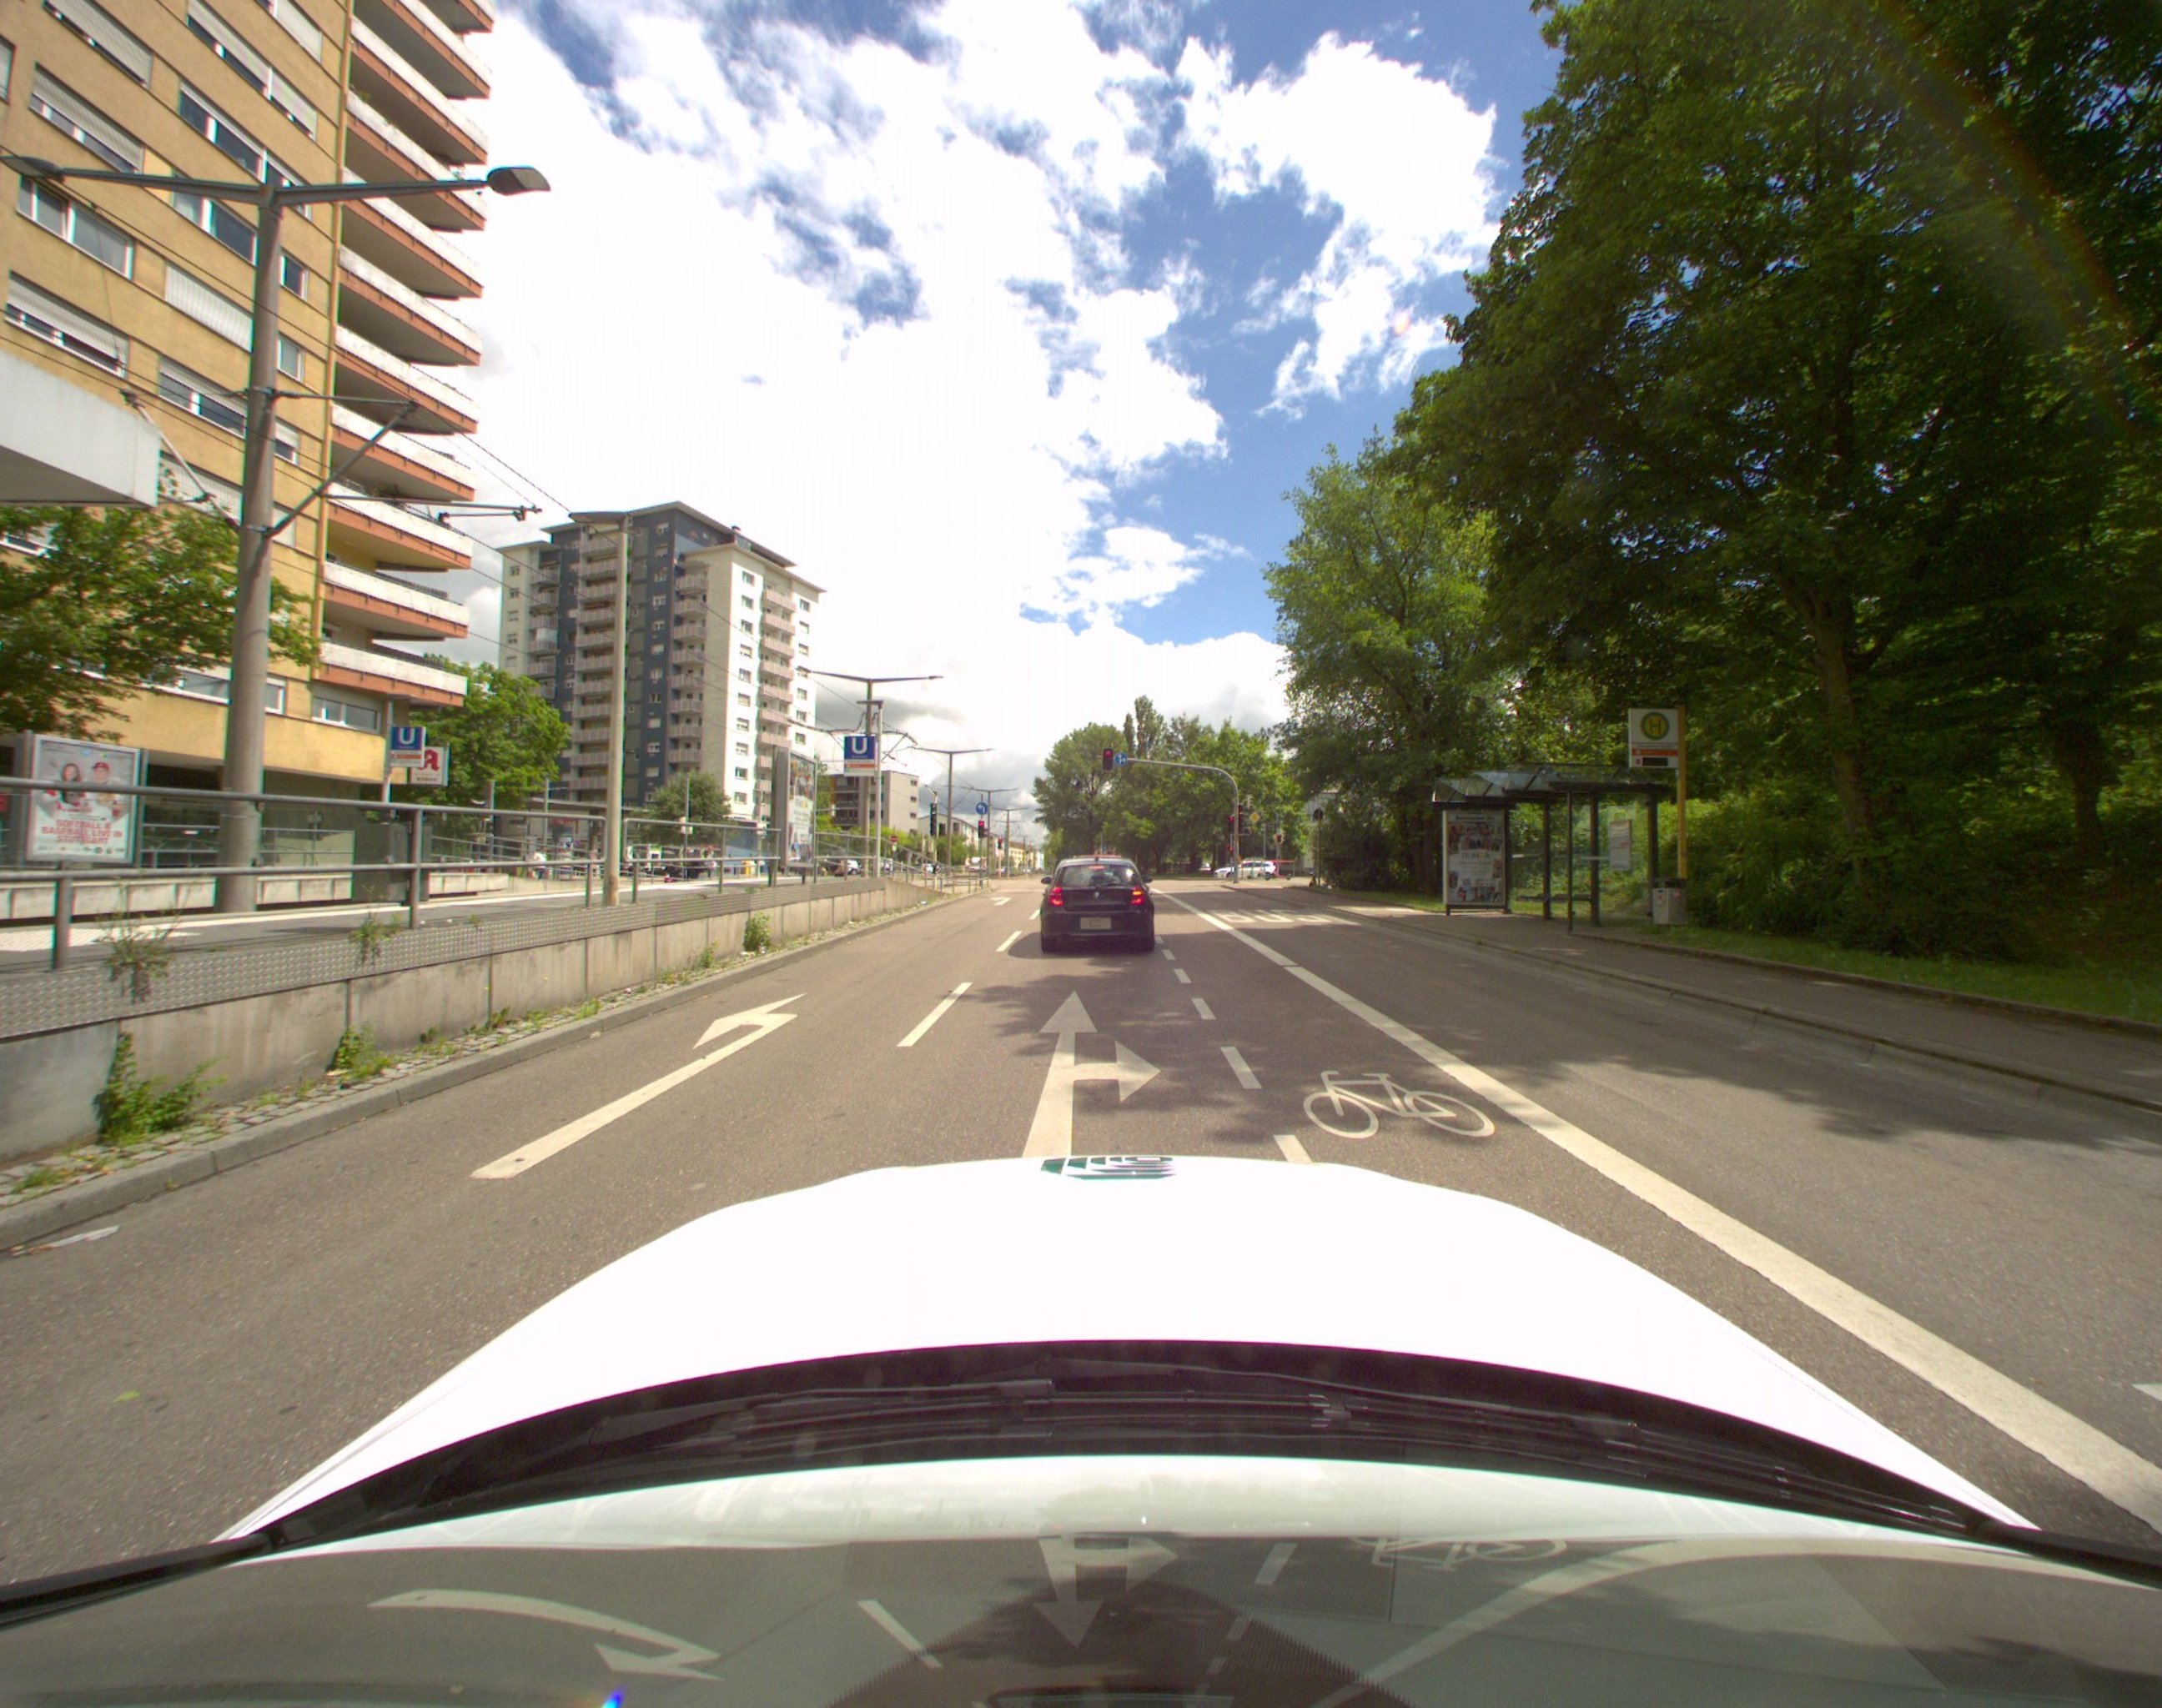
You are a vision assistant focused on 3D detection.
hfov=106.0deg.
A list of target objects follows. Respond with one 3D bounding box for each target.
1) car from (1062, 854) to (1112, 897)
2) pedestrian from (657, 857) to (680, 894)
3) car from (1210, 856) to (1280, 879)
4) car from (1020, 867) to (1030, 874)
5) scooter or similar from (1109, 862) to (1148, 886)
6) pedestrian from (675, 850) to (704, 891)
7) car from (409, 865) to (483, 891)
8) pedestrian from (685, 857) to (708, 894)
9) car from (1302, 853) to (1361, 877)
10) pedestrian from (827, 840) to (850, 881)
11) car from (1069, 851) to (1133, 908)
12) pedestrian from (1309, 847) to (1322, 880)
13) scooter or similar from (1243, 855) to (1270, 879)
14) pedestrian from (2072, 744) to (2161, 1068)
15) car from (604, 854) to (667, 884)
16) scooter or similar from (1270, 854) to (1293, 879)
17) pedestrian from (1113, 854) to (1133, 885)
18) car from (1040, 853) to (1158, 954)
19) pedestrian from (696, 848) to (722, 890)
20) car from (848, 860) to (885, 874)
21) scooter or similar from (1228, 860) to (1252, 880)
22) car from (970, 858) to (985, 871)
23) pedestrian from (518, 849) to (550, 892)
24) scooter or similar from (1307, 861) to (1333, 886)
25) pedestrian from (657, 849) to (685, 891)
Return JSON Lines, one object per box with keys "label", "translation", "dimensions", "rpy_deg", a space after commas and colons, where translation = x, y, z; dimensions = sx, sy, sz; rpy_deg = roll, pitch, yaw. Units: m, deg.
{"label": "car", "translation": [0.215, 0.732, 29.051], "dimensions": [1.649, 1.419, 3.516], "rpy_deg": [-1, 0, 0]}
{"label": "pedestrian", "translation": [-15.291, 0.781, 30.193], "dimensions": [0.660, 1.343, 0.558], "rpy_deg": [-1, 0, 43]}
{"label": "car", "translation": [11.869, 0.944, 58.975], "dimensions": [4.571, 1.526, 1.939], "rpy_deg": [-1, 0, -10]}
{"label": "car", "translation": [-12.879, 3.798, 187.812], "dimensions": [1.961, 1.596, 3.999], "rpy_deg": [0, 0, -1]}
{"label": "scooter or similar", "translation": [2.174, 0.928, 37.590], "dimensions": [1.776, 1.050, 0.410], "rpy_deg": [-1, 0, -2]}
{"label": "pedestrian", "translation": [-15.667, 0.653, 32.585], "dimensions": [0.857, 1.578, 0.622], "rpy_deg": [0, 0, -7]}
{"label": "car", "translation": [-43.783, 1.641, 56.192], "dimensions": [3.674, 1.680, 1.742], "rpy_deg": [-1, 0, -3]}
{"label": "pedestrian", "translation": [-14.248, 0.769, 30.179], "dimensions": [0.691, 1.342, 0.852], "rpy_deg": [0, 0, -29]}
{"label": "car", "translation": [17.344, 0.775, 56.446], "dimensions": [3.578, 1.600, 1.705], "rpy_deg": [-1, -1, -11]}
{"label": "pedestrian", "translation": [-9.906, 0.261, 33.337], "dimensions": [0.698, 1.632, 0.638], "rpy_deg": [-1, 0, 1]}
{"label": "car", "translation": [0.579, 0.648, 22.233], "dimensions": [1.588, 1.419, 3.519], "rpy_deg": [-1, 0, 2]}
{"label": "pedestrian", "translation": [13.262, 0.526, 46.012], "dimensions": [0.608, 1.790, 0.571], "rpy_deg": [3, 0, 20]}
{"label": "scooter or similar", "translation": [8.930, 0.665, 41.356], "dimensions": [1.290, 1.189, 0.383], "rpy_deg": [-1, 0, -14]}
{"label": "pedestrian", "translation": [6.719, 0.301, 4.557], "dimensions": [0.798, 1.895, 1.271], "rpy_deg": [-1, 0, 2]}
{"label": "car", "translation": [-31.603, 1.043, 57.872], "dimensions": [3.725, 2.013, 1.800], "rpy_deg": [-2, 0, -22]}
{"label": "scooter or similar", "translation": [10.381, 0.649, 42.190], "dimensions": [1.107, 1.258, 0.331], "rpy_deg": [-1, 0, -11]}
{"label": "pedestrian", "translation": [1.954, 0.723, 38.035], "dimensions": [0.860, 1.442, 0.800], "rpy_deg": [-1, 0, 6]}
{"label": "car", "translation": [0.356, 0.697, 13.276], "dimensions": [1.647, 1.419, 3.520], "rpy_deg": [-1, 0, 3]}
{"label": "pedestrian", "translation": [-15.268, 0.605, 33.427], "dimensions": [0.677, 1.706, 0.827], "rpy_deg": [0, 0, 0]}
{"label": "car", "translation": [-23.003, 1.382, 87.331], "dimensions": [3.600, 1.462, 1.612], "rpy_deg": [-1, 0, -7]}
{"label": "scooter or similar", "translation": [7.851, 0.792, 40.200], "dimensions": [1.121, 0.957, 0.299], "rpy_deg": [-1, 0, -14]}
{"label": "car", "translation": [-20.368, 2.054, 160.510], "dimensions": [2.132, 2.640, 5.358], "rpy_deg": [0, 0, 0]}
{"label": "pedestrian", "translation": [-21.951, 0.657, 32.699], "dimensions": [0.850, 1.696, 0.693], "rpy_deg": [0, 0, 20]}
{"label": "scooter or similar", "translation": [10.838, 0.886, 36.892], "dimensions": [1.153, 1.099, 0.329], "rpy_deg": [0, 0, -22]}
{"label": "pedestrian", "translation": [-15.657, 0.620, 31.107], "dimensions": [0.604, 1.583, 0.776], "rpy_deg": [0, 0, 9]}
